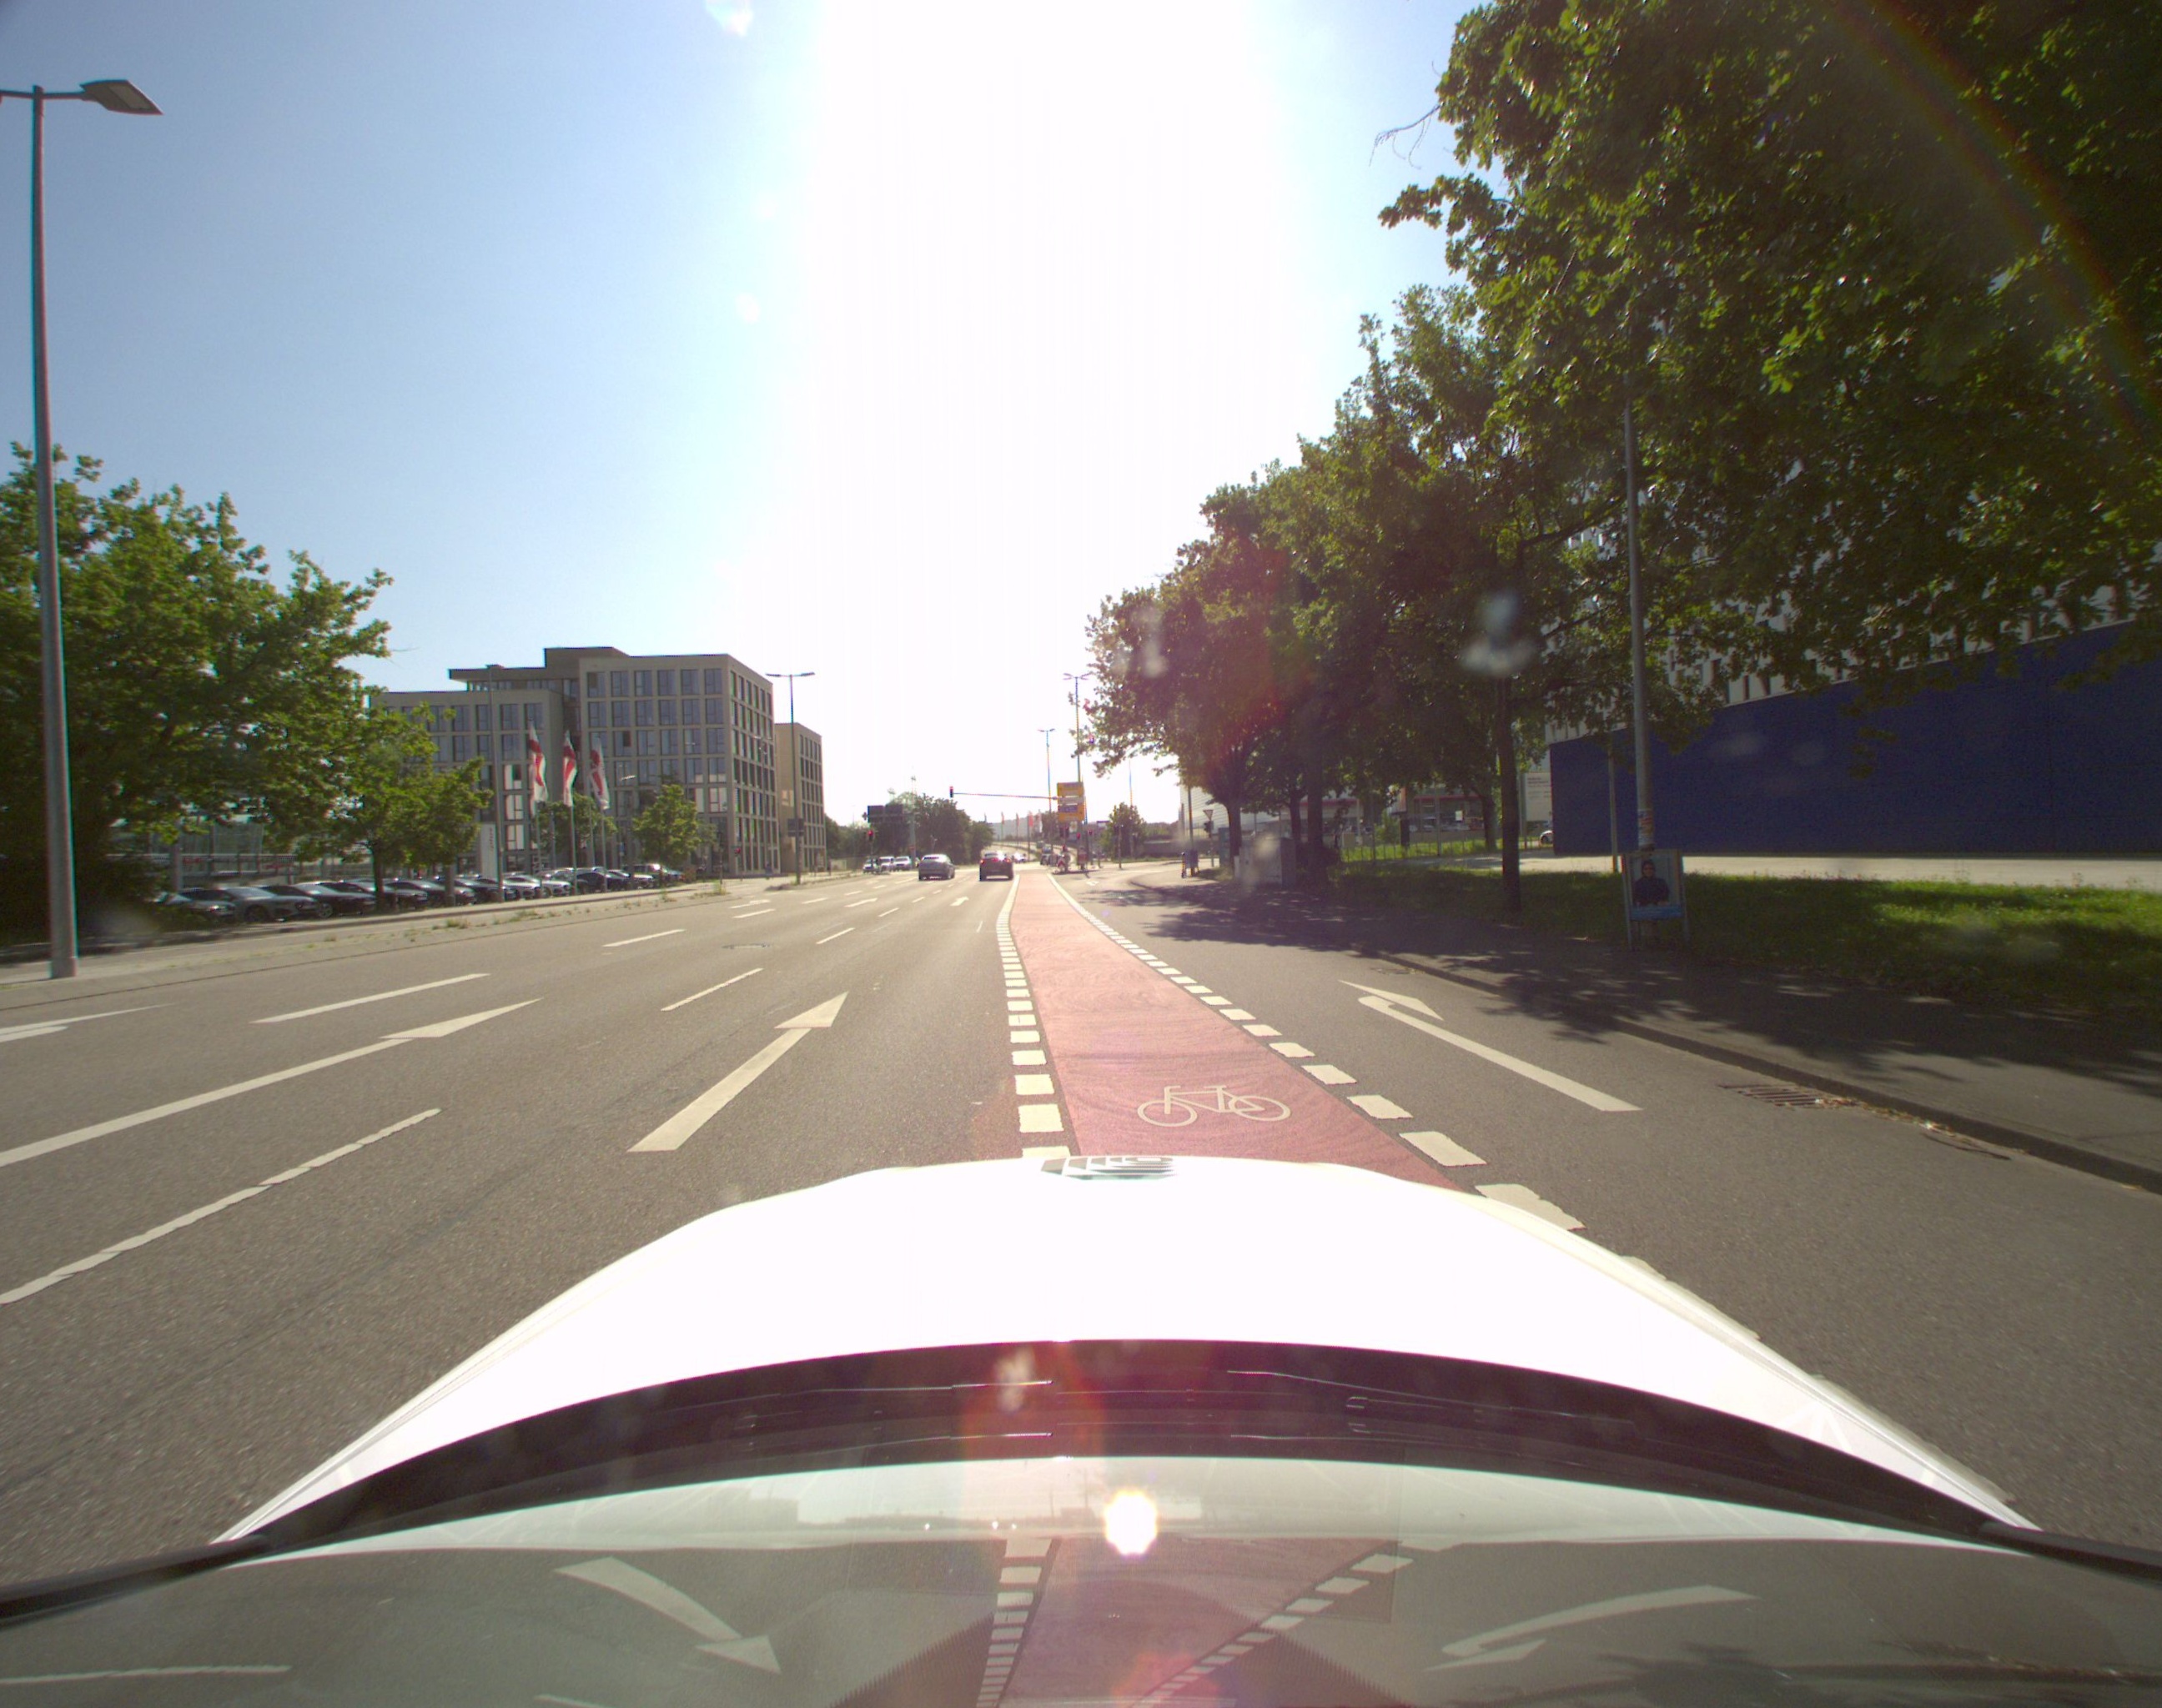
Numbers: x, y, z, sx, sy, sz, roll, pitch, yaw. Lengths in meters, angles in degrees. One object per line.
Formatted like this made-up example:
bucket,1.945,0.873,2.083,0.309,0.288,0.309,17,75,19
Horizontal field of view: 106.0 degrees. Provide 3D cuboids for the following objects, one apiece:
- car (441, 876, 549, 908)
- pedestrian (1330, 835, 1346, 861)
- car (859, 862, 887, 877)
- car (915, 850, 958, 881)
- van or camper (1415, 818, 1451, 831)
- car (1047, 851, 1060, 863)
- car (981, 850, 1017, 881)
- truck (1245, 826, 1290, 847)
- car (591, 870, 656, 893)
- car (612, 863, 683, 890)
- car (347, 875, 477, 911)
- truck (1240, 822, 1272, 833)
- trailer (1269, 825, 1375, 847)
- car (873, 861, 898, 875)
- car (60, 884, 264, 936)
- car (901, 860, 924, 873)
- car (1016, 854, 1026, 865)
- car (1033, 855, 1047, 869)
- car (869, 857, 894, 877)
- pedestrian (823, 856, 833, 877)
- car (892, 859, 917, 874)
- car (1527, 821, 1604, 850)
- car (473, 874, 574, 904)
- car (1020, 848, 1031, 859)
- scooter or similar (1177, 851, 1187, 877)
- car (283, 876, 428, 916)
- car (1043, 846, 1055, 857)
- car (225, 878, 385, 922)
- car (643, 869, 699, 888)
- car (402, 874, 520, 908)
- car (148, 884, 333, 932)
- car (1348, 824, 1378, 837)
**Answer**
car,-30.096,1.921,41.929,3.980,1.343,1.997,-3,0,-5
pedestrian,17.822,-0.423,56.540,0.628,1.770,0.801,-3,0,-14
car,-22.640,1.649,88.968,1.885,1.464,4.001,-3,0,1
car,-8.734,0.668,49.395,1.989,1.684,3.996,-3,0,-3
van or camper,55.330,-4.658,128.025,4.975,2.013,1.997,0,1,-5
car,-3.434,0.392,102.771,1.684,1.359,3.998,0,1,-2
car,-4.728,0.626,47.275,1.803,1.640,4.453,-3,0,-4
truck,21.840,-2.018,95.417,4.862,2.423,2.001,0,1,1
car,-30.954,1.864,55.124,3.402,1.343,1.644,-3,0,-1
car,-37.157,1.906,69.967,4.902,2.050,1.998,-3,0,-3
car,-29.859,1.714,36.477,3.982,1.343,1.996,-3,0,-6
truck,33.942,-5.155,157.876,5.893,2.013,1.999,0,1,-2
trailer,28.139,-2.118,95.207,11.825,2.469,2.001,0,1,2
car,-23.079,1.652,96.425,1.809,1.464,4.001,-3,0,1
car,-29.239,1.749,26.034,3.980,1.311,1.997,-3,0,-5
car,-20.121,1.480,97.308,1.809,1.464,4.001,-3,0,1
car,-11.175,1.004,150.629,1.757,1.794,3.341,-3,0,-5
car,-5.792,1.074,113.634,1.755,1.758,3.595,0,1,-6
car,-14.580,0.933,59.720,1.212,1.331,2.798,0,1,-2
pedestrian,-25.346,1.268,81.588,0.760,2.013,0.926,-1,1,-29
car,-19.559,1.345,90.367,1.809,1.464,4.001,-3,0,1
car,27.826,-1.044,46.922,1.784,1.489,3.919,-2,0,-6
car,-30.274,1.892,44.309,3.980,1.343,1.997,-3,0,-5
car,-10.834,-0.124,158.805,1.989,2.013,3.977,0,1,-3
scooter or similar,5.014,0.480,40.341,0.349,1.233,1.315,-3,0,10
car,-29.725,1.715,33.496,3.980,1.343,1.997,-3,0,-5
car,-6.248,-0.471,159.752,1.986,2.013,4.002,0,1,1
car,-29.606,1.733,31.189,3.980,1.343,1.997,-3,0,-5
car,-36.852,2.208,73.326,3.977,1.464,1.998,-3,0,-3
car,-29.927,1.757,39.419,3.980,1.343,1.997,-3,0,-5
car,-29.346,1.844,28.568,4.143,1.343,1.997,-3,0,-5
car,44.444,-3.627,128.233,3.981,2.013,1.997,0,1,-5
